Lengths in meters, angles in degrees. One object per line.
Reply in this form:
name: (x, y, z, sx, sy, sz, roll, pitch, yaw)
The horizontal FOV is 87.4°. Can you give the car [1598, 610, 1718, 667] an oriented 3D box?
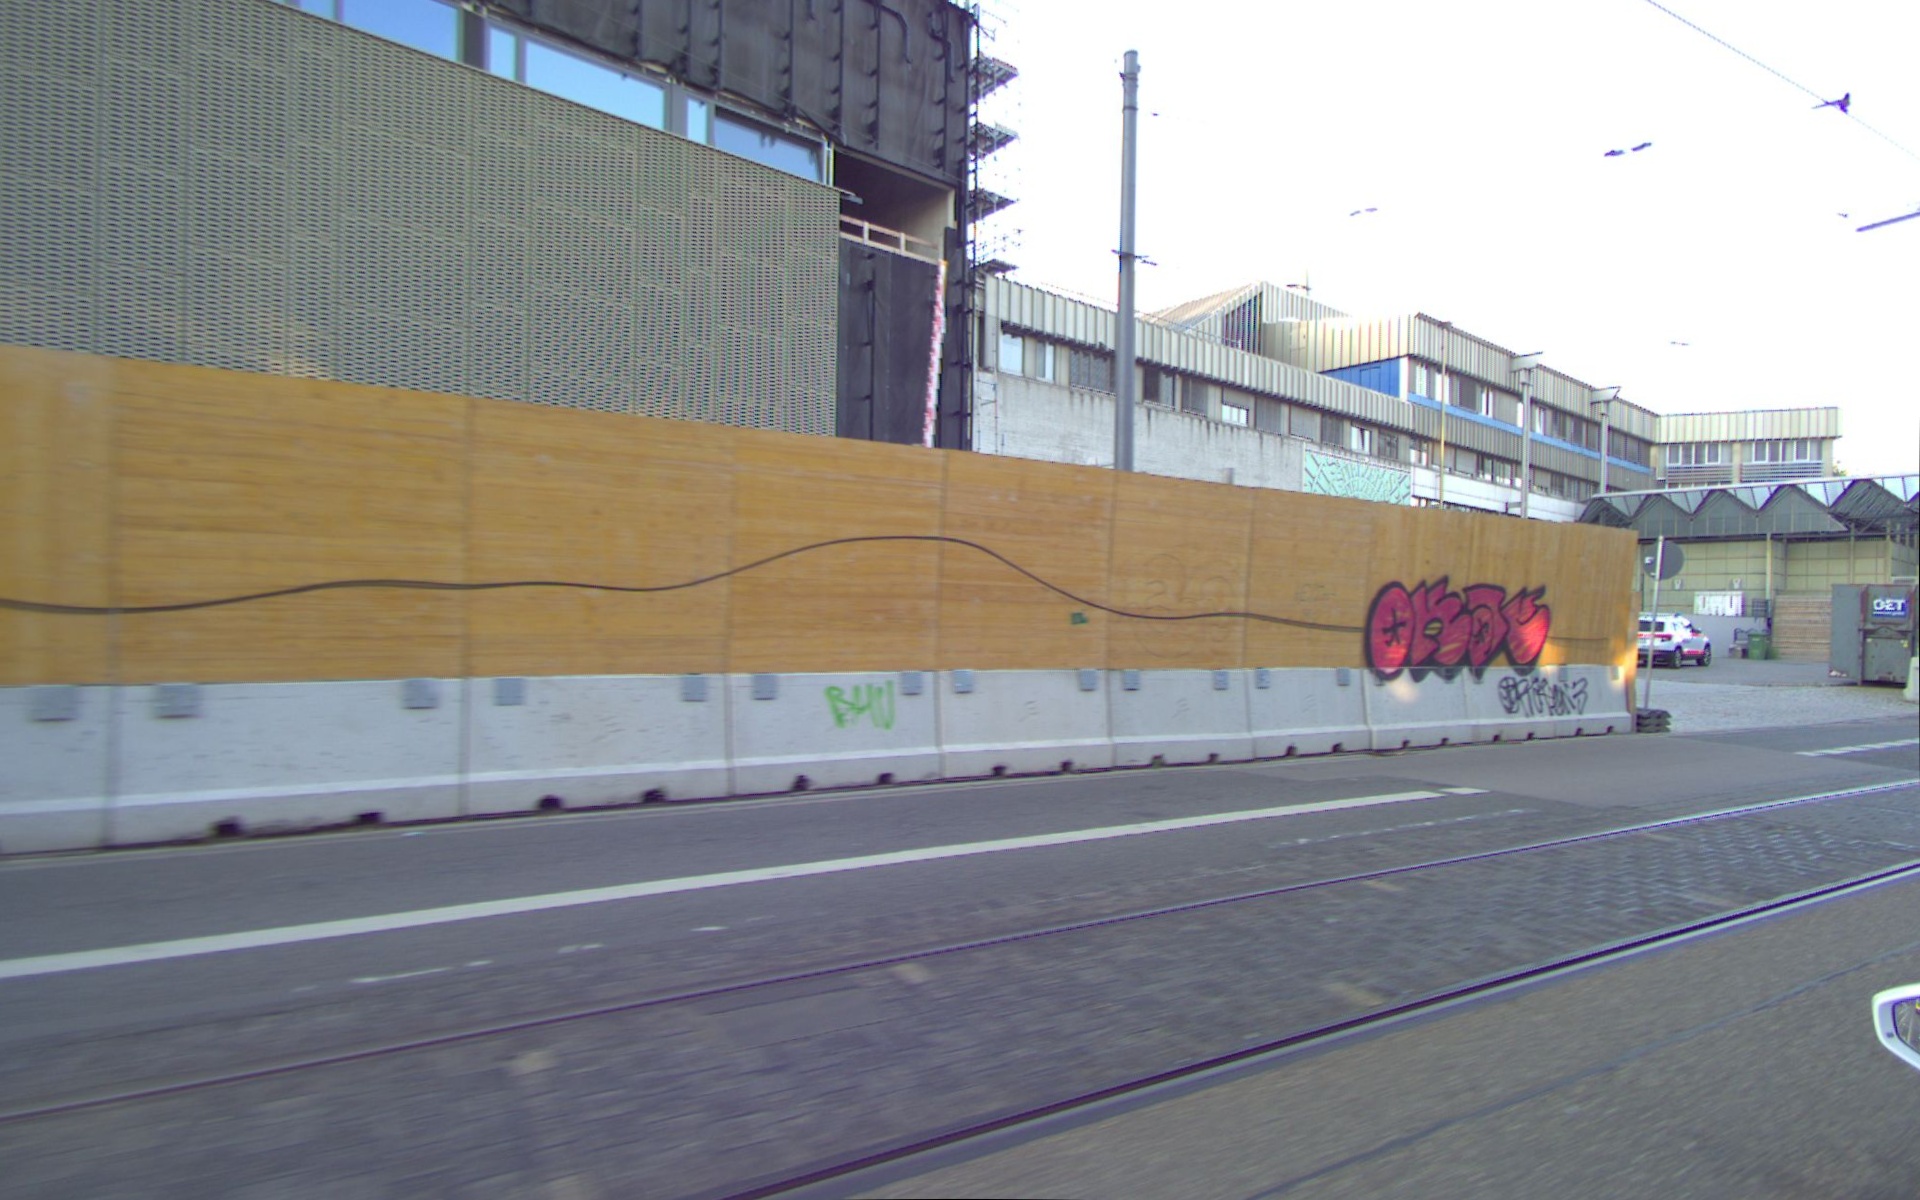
car: (22.746, 1.226, 32.695, 4.241, 1.686, 1.979, 2, 0, -37)
